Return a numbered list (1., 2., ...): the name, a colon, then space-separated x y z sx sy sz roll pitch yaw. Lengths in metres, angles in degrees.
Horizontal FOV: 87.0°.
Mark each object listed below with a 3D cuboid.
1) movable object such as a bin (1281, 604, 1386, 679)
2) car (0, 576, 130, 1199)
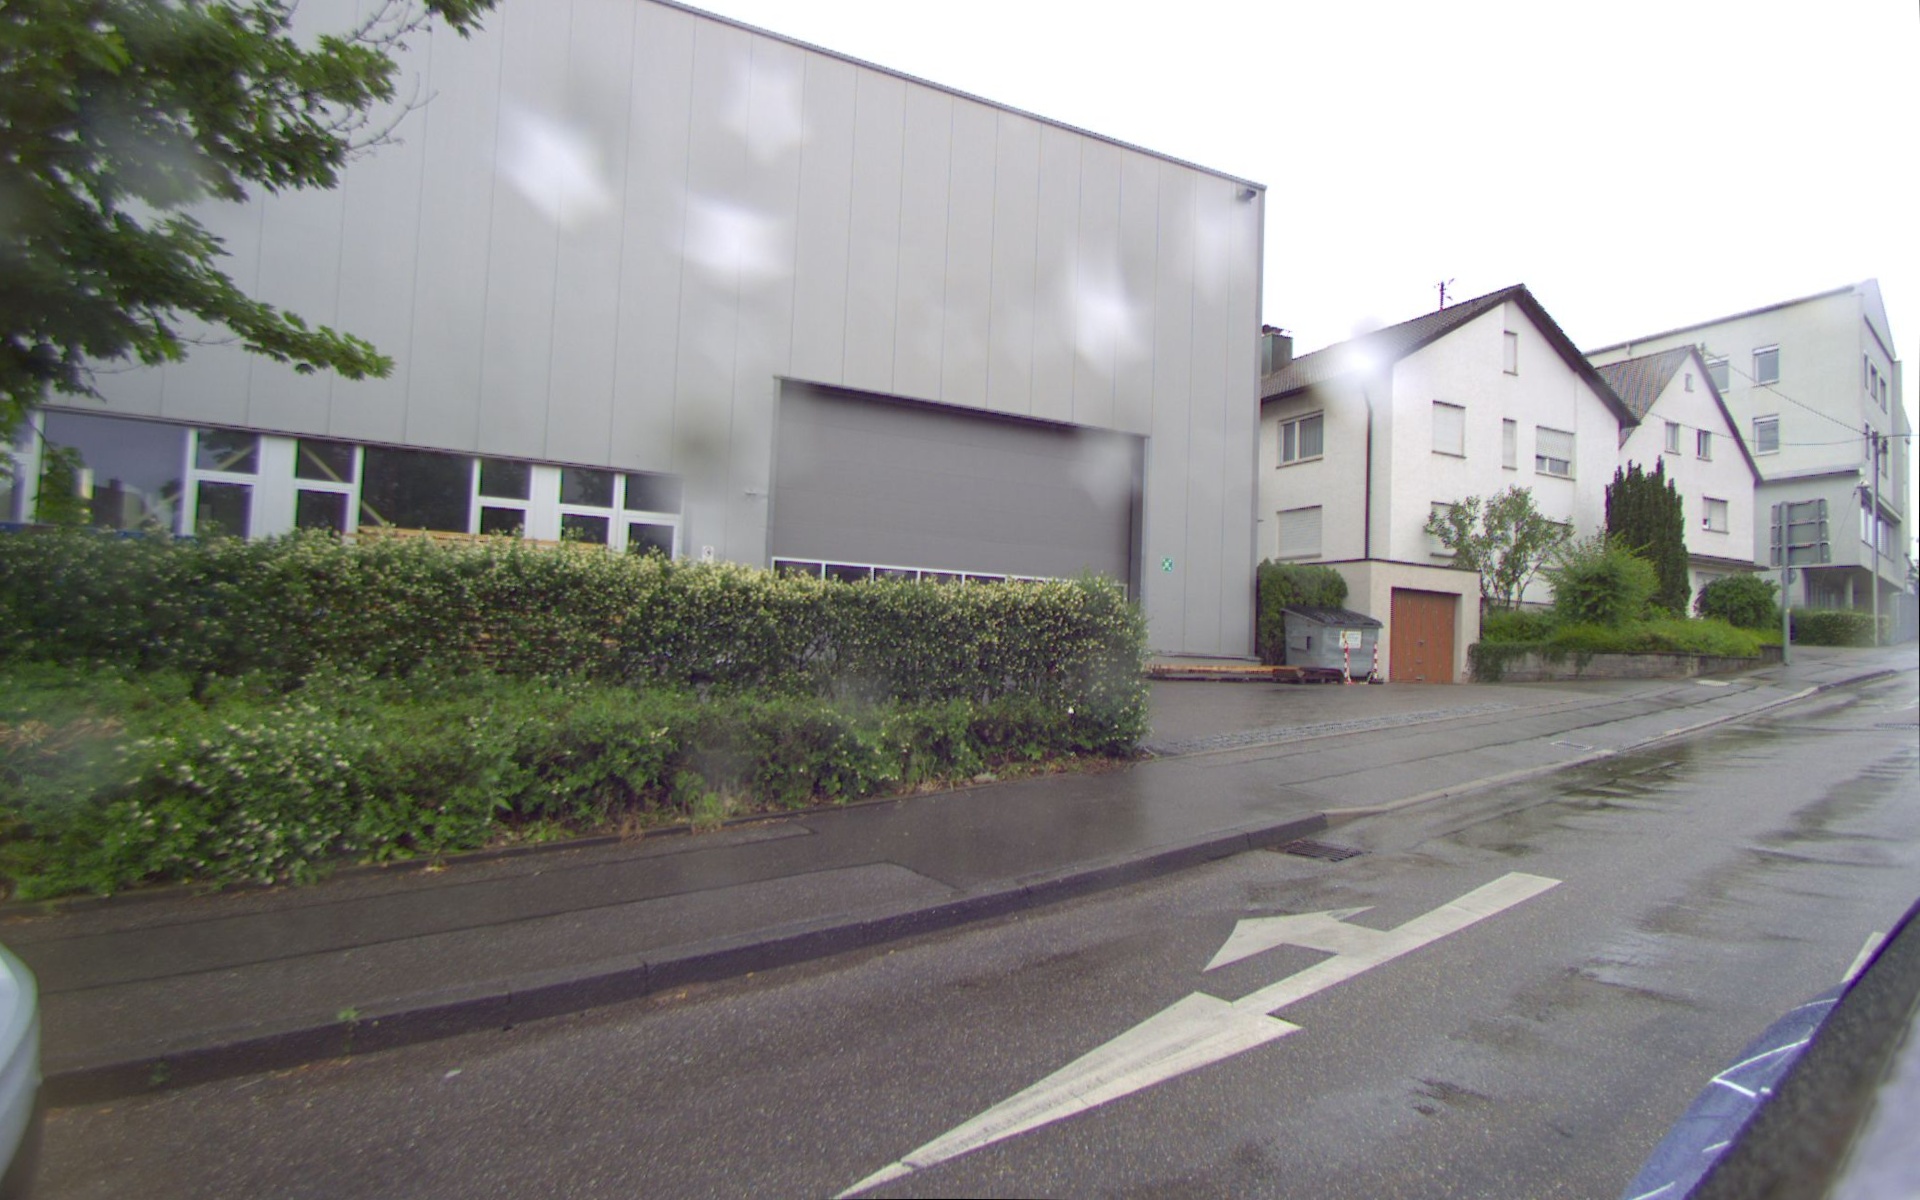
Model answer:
1. movable object such as a bin: 8.060 0.882 21.879 1.556 1.555 1.451 2 -1 -25
2. car: -3.299 0.694 0.807 3.829 1.574 1.695 2 -1 -32
